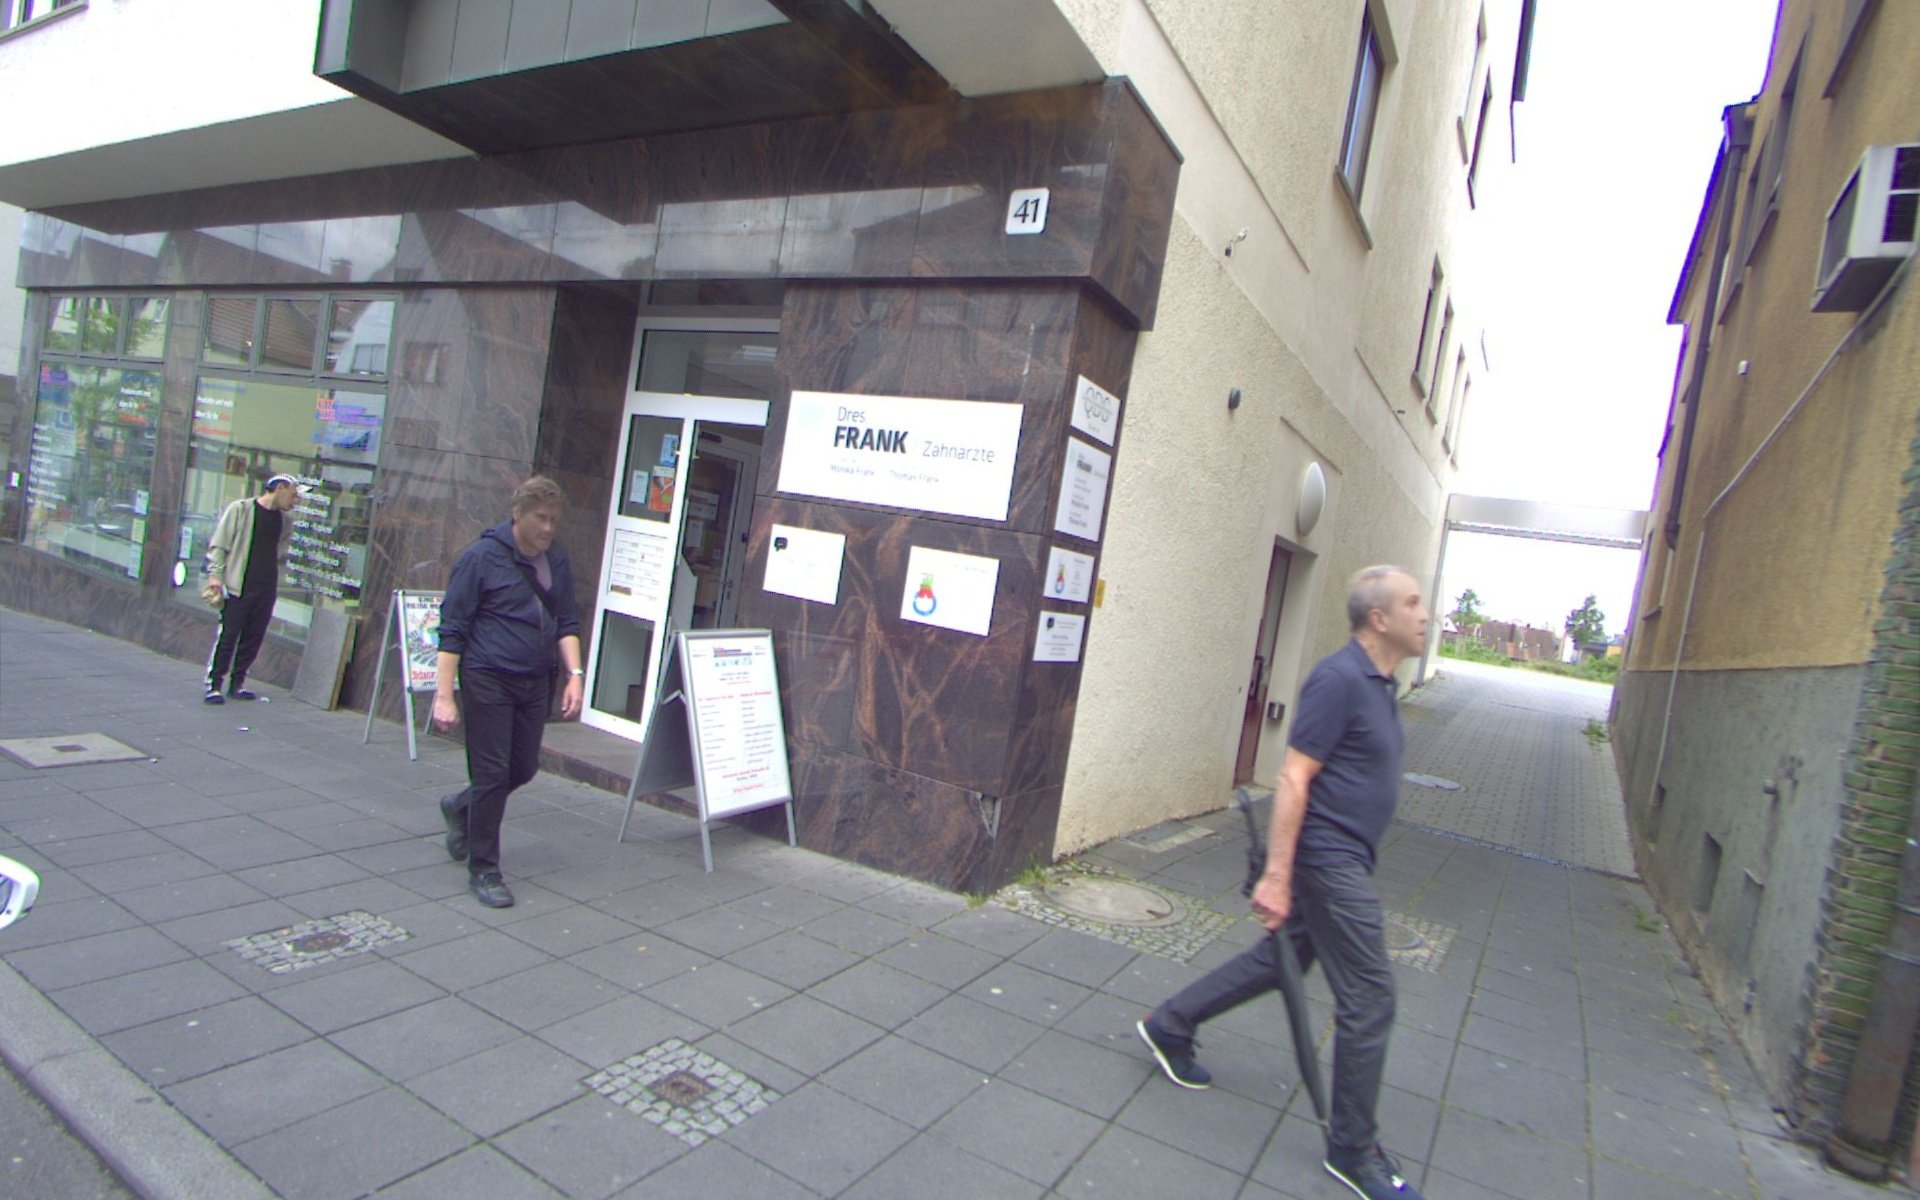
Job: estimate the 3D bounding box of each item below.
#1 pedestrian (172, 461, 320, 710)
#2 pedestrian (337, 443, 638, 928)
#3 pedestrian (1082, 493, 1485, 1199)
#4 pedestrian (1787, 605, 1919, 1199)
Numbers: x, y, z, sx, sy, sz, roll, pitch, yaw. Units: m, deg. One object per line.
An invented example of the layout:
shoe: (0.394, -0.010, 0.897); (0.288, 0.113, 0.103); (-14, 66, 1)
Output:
pedestrian: (-5.260, -0.110, 7.425); (0.533, 1.713, 0.663); (7, 4, 25)
pedestrian: (-1.959, 0.305, 4.189); (0.774, 1.777, 0.711); (7, 3, 31)
pedestrian: (0.923, 0.637, 2.854); (0.772, 1.778, 0.710); (7, 5, 31)
pedestrian: (2.536, 0.877, 2.221); (0.821, 1.653, 0.711); (7, 4, 31)
